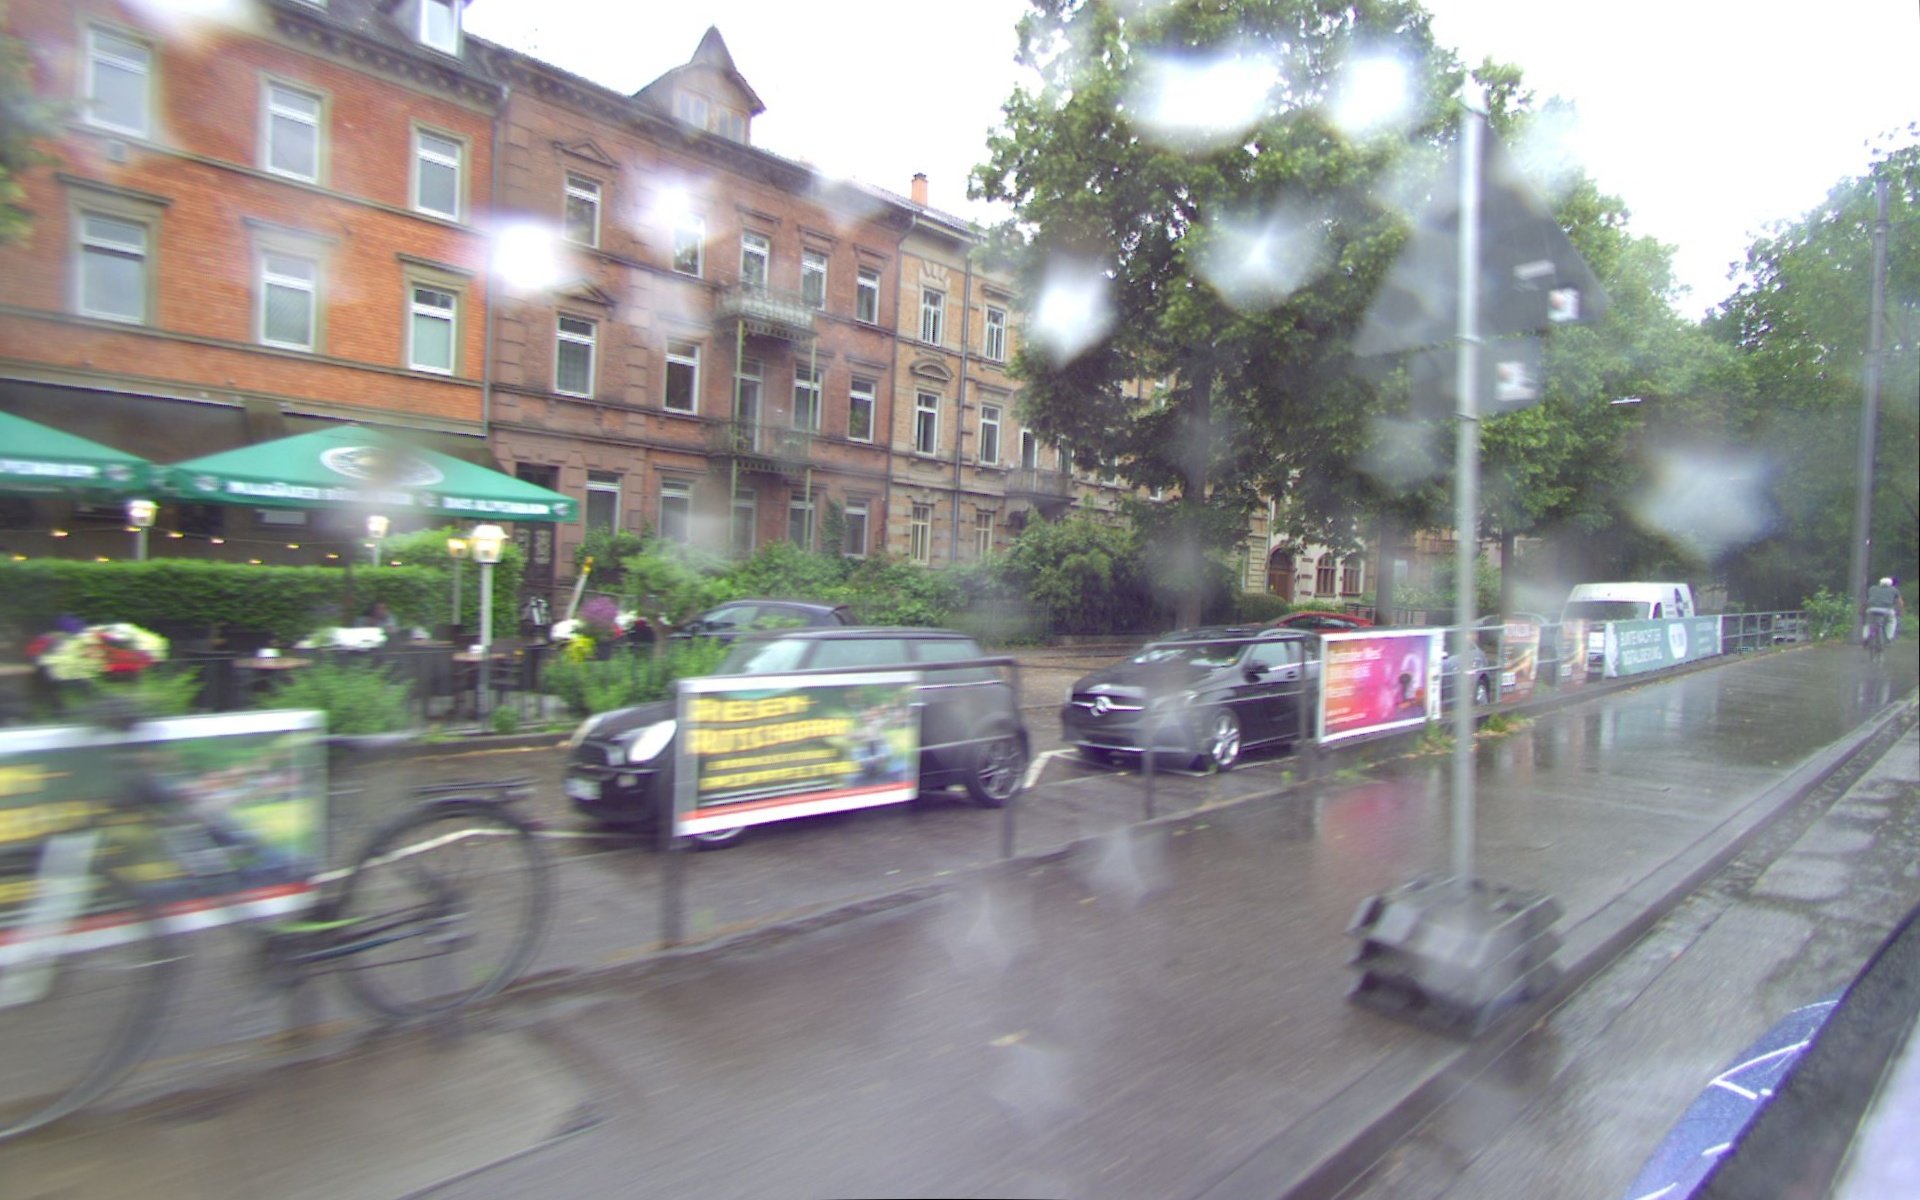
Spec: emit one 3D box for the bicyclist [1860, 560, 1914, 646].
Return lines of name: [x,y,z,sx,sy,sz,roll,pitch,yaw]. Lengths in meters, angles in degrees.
bicyclist: [18.730,0.053,20.447,0.736,1.676,0.864,3,1,43]

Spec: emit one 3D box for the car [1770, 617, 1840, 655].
car: [36.859,1.540,44.129,3.931,1.473,1.807,1,1,-42]

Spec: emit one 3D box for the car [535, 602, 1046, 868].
car: [-1.158,0.814,7.661,3.454,1.519,1.650,1,0,-40]

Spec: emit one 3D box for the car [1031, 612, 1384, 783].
car: [2.859,0.911,11.153,4.143,1.482,1.748,1,0,-42]

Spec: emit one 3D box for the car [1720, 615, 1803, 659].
car: [28.356,1.260,35.771,3.931,1.389,1.702,0,0,-42]

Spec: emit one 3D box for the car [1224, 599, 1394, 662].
car: [9.437,0.784,27.679,4.228,1.488,1.701,2,1,17]

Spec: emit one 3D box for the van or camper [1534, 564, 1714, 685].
van or camper: [16.481,0.535,24.960,5.993,2.623,2.329,1,1,-43]

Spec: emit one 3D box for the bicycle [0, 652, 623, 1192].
bicycle: [-1.902,0.768,2.889,1.763,1.183,0.422,1,-1,-44]

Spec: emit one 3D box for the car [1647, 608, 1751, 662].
car: [21.705,0.986,29.675,4.143,1.365,1.628,-1,2,-42]

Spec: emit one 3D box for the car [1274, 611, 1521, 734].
car: [6.490,0.949,14.802,4.143,1.488,1.730,1,0,-42]

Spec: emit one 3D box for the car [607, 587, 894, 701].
car: [-3.181,0.616,15.704,3.938,1.527,1.854,2,0,12]

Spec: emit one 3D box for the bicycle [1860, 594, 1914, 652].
bicycle: [18.690,0.448,20.394,0.738,1.086,1.837,3,2,43]
